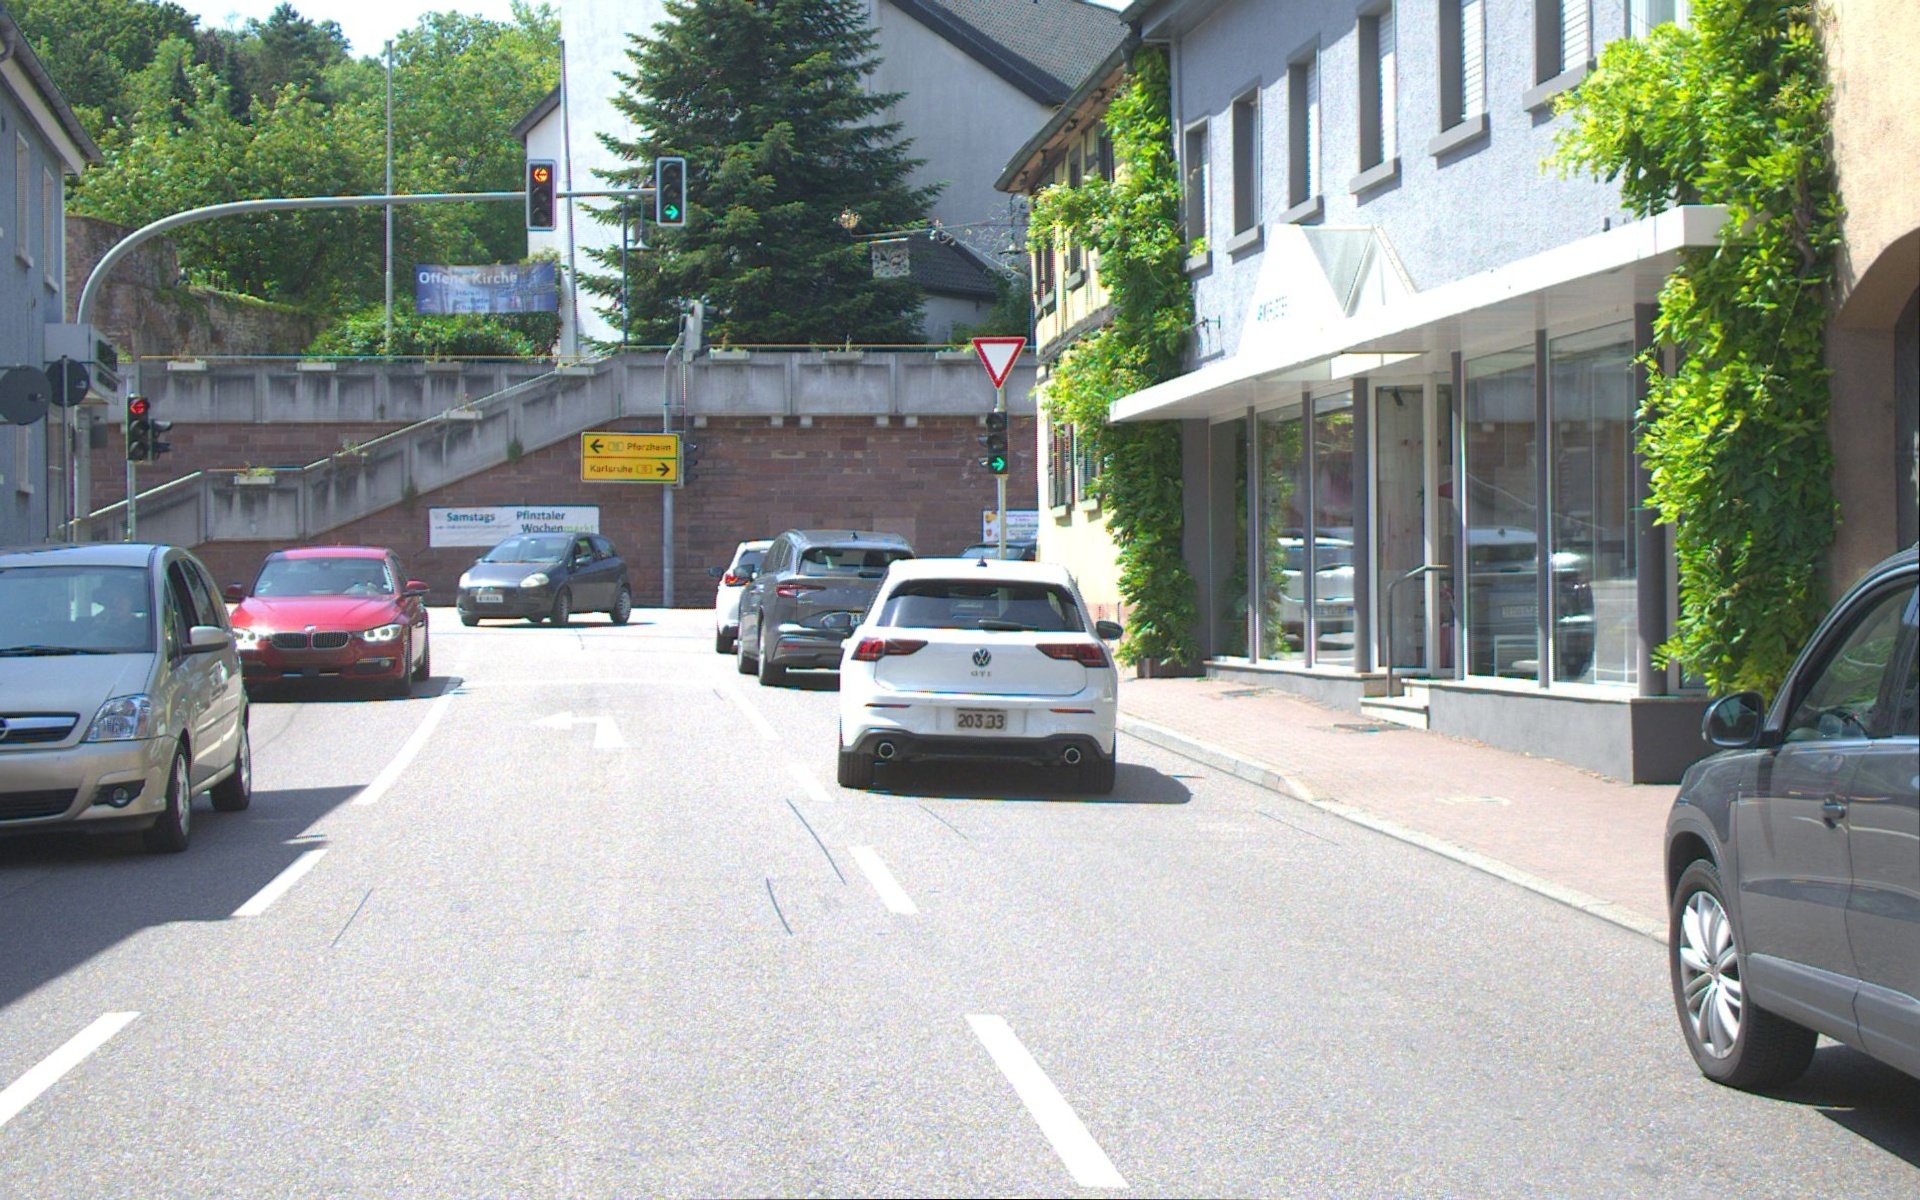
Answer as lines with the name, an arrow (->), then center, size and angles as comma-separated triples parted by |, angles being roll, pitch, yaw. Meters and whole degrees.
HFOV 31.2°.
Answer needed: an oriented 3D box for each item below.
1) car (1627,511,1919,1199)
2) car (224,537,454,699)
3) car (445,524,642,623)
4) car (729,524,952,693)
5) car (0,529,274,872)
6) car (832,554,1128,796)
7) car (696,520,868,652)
car -> 3.188, 0.600, 8.728 | 1.993, 1.703, 4.101 | -2, 1, -2
car -> -6.134, 0.132, 34.379 | 1.717, 1.404, 4.285 | -2, 2, -3
car -> -6.513, -0.440, 54.146 | 1.719, 1.418, 3.818 | -1, 2, 16
car -> -1.335, 0.041, 36.465 | 1.949, 1.577, 4.327 | 0, 3, -8
car -> -4.849, 0.469, 18.672 | 1.679, 1.611, 3.822 | -2, 2, -4
car -> 0.079, 0.425, 22.648 | 1.782, 1.453, 3.863 | 0, 1, -1
car -> -2.436, -0.224, 45.990 | 1.949, 1.577, 4.327 | 0, 3, -8
